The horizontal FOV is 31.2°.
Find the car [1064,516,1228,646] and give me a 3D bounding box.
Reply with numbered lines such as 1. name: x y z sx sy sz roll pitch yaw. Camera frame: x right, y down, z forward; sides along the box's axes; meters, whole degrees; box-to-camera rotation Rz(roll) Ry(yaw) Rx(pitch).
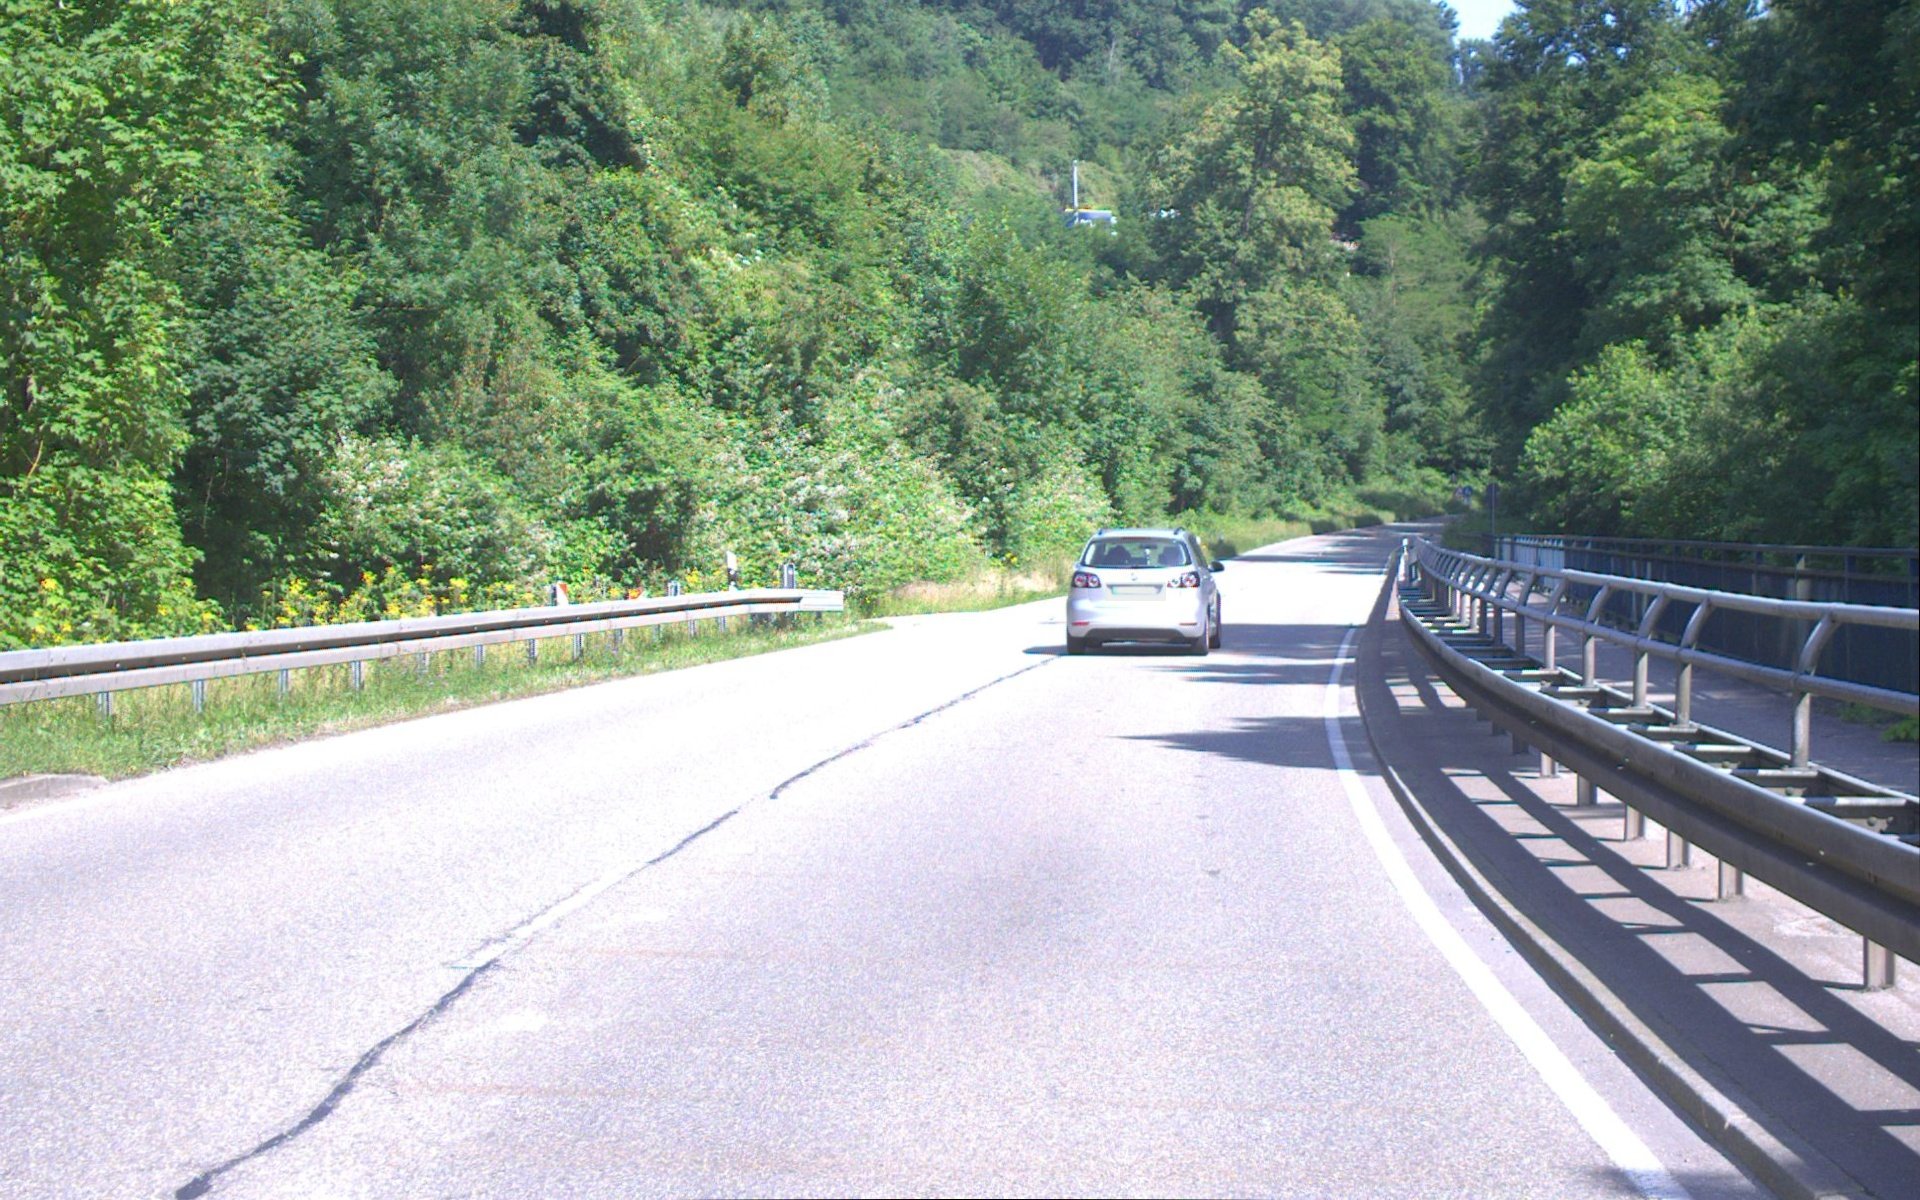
1. car: 2.391 -0.279 43.248 1.751 1.514 4.158 1 2 7
